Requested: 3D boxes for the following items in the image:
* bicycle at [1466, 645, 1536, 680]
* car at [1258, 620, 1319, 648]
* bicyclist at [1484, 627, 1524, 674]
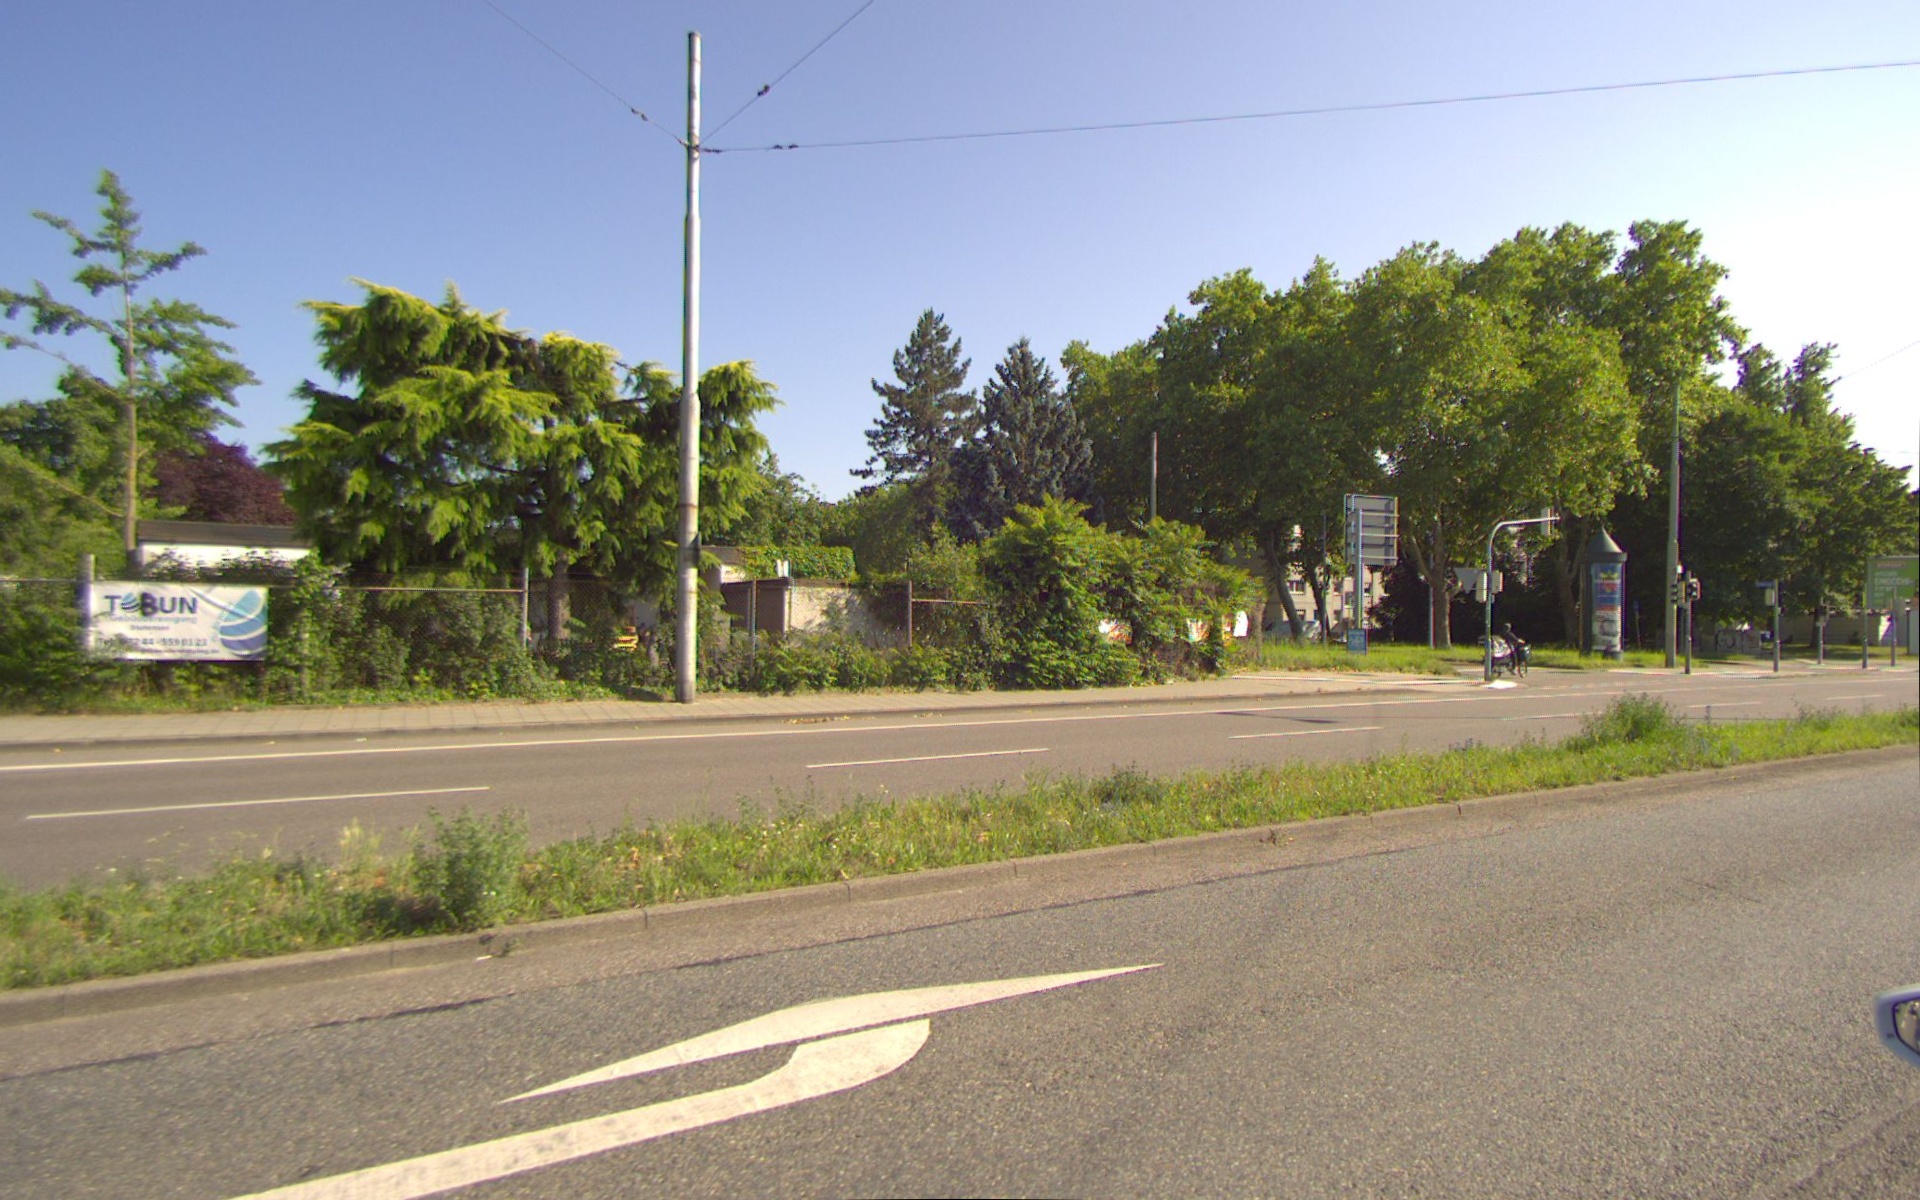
[{"bbox_3d":[17.308,1.979,32.112,2.547,1.063,0.659,1,-1,-27],"label":"bicycle"},{"bbox_3d":[23.633,2.431,72.485,1.798,1.989,4.379,1,-1,-23],"label":"car"},{"bbox_3d":[17.416,1.613,32.178,1.037,1.471,0.659,1,-1,-27],"label":"bicyclist"}]
